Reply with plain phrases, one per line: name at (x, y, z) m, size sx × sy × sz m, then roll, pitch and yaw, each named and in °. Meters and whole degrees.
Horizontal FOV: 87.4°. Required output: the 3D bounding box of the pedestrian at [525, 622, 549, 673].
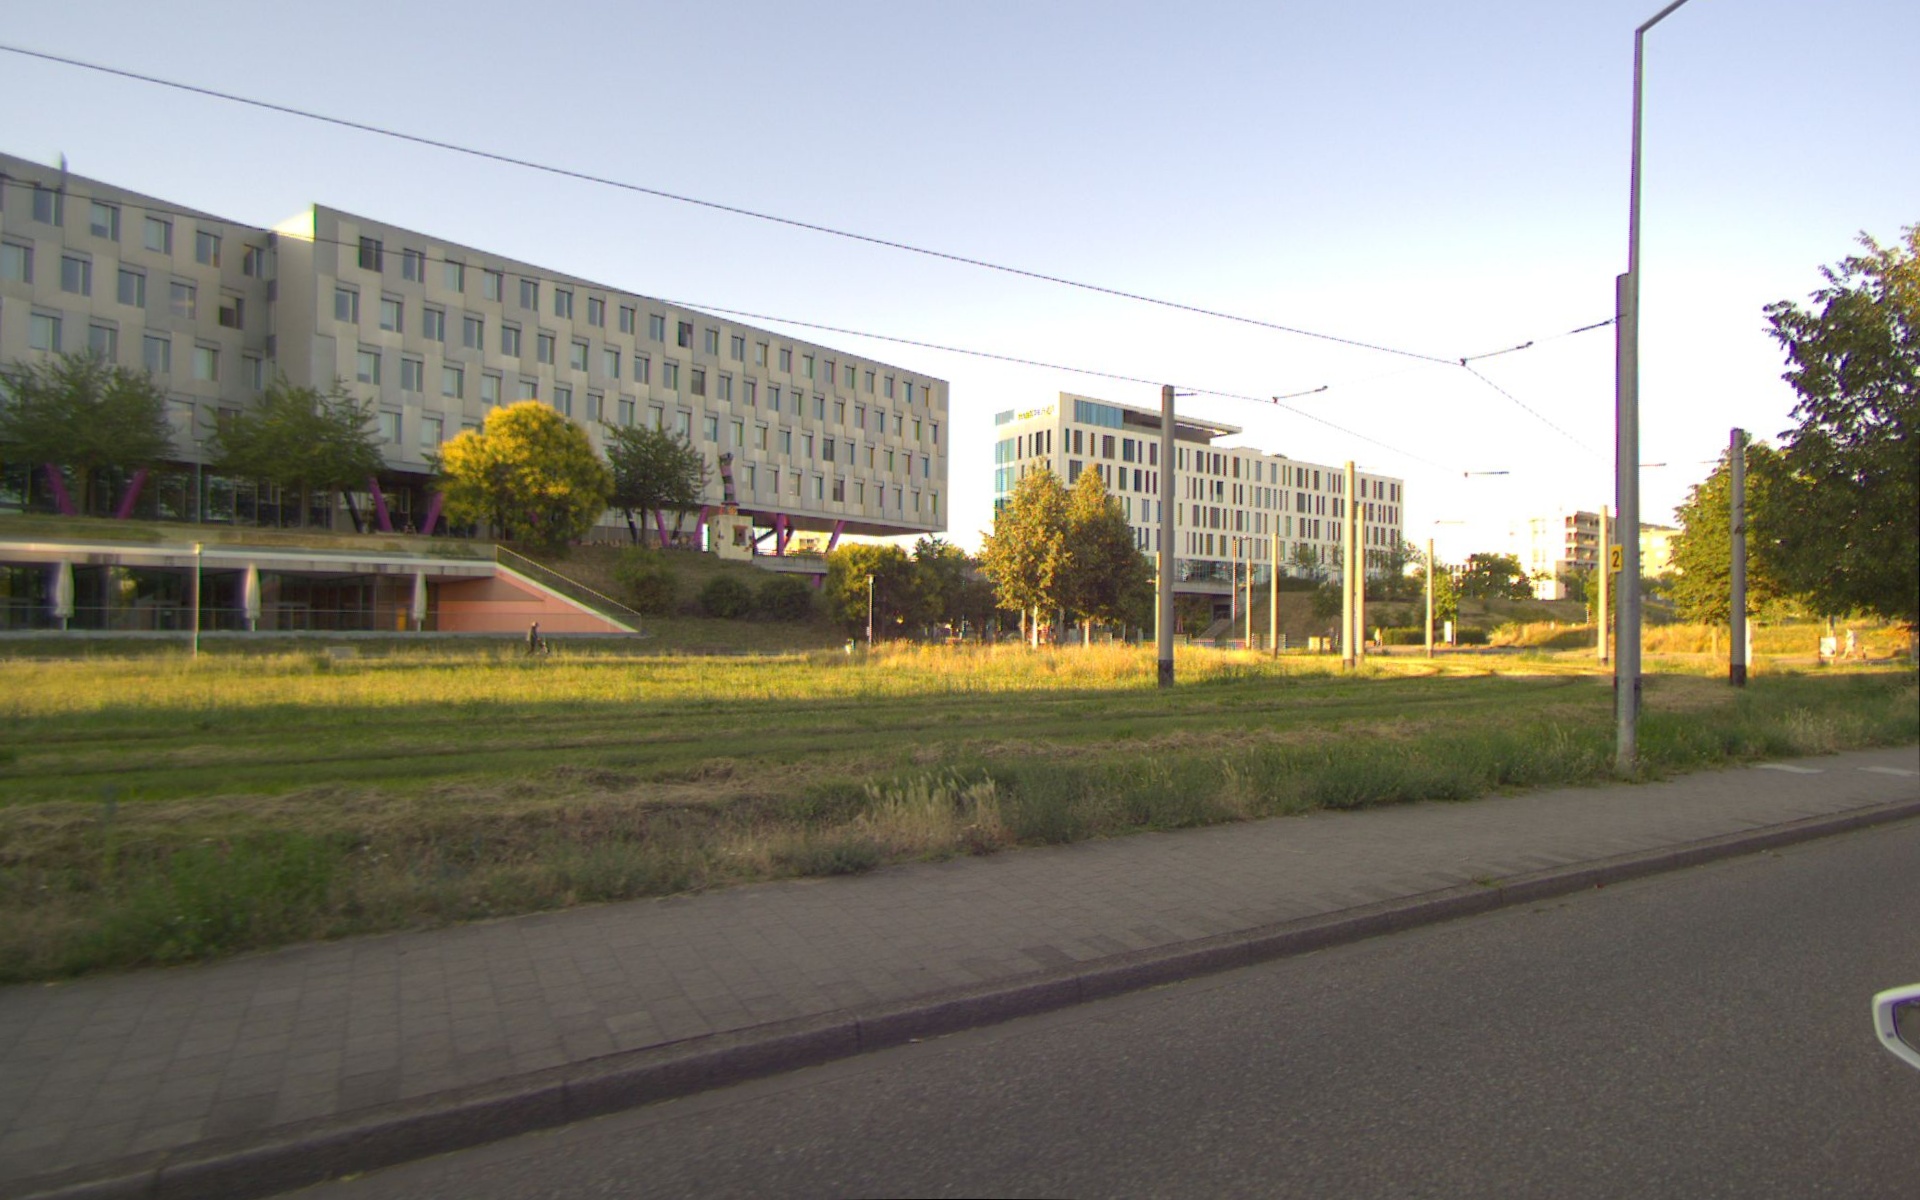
pedestrian at (-17.798, 1.985, 42.249) m, size 0.781 × 2.110 × 0.613 m, roll 1°, pitch 1°, yaw -32°
